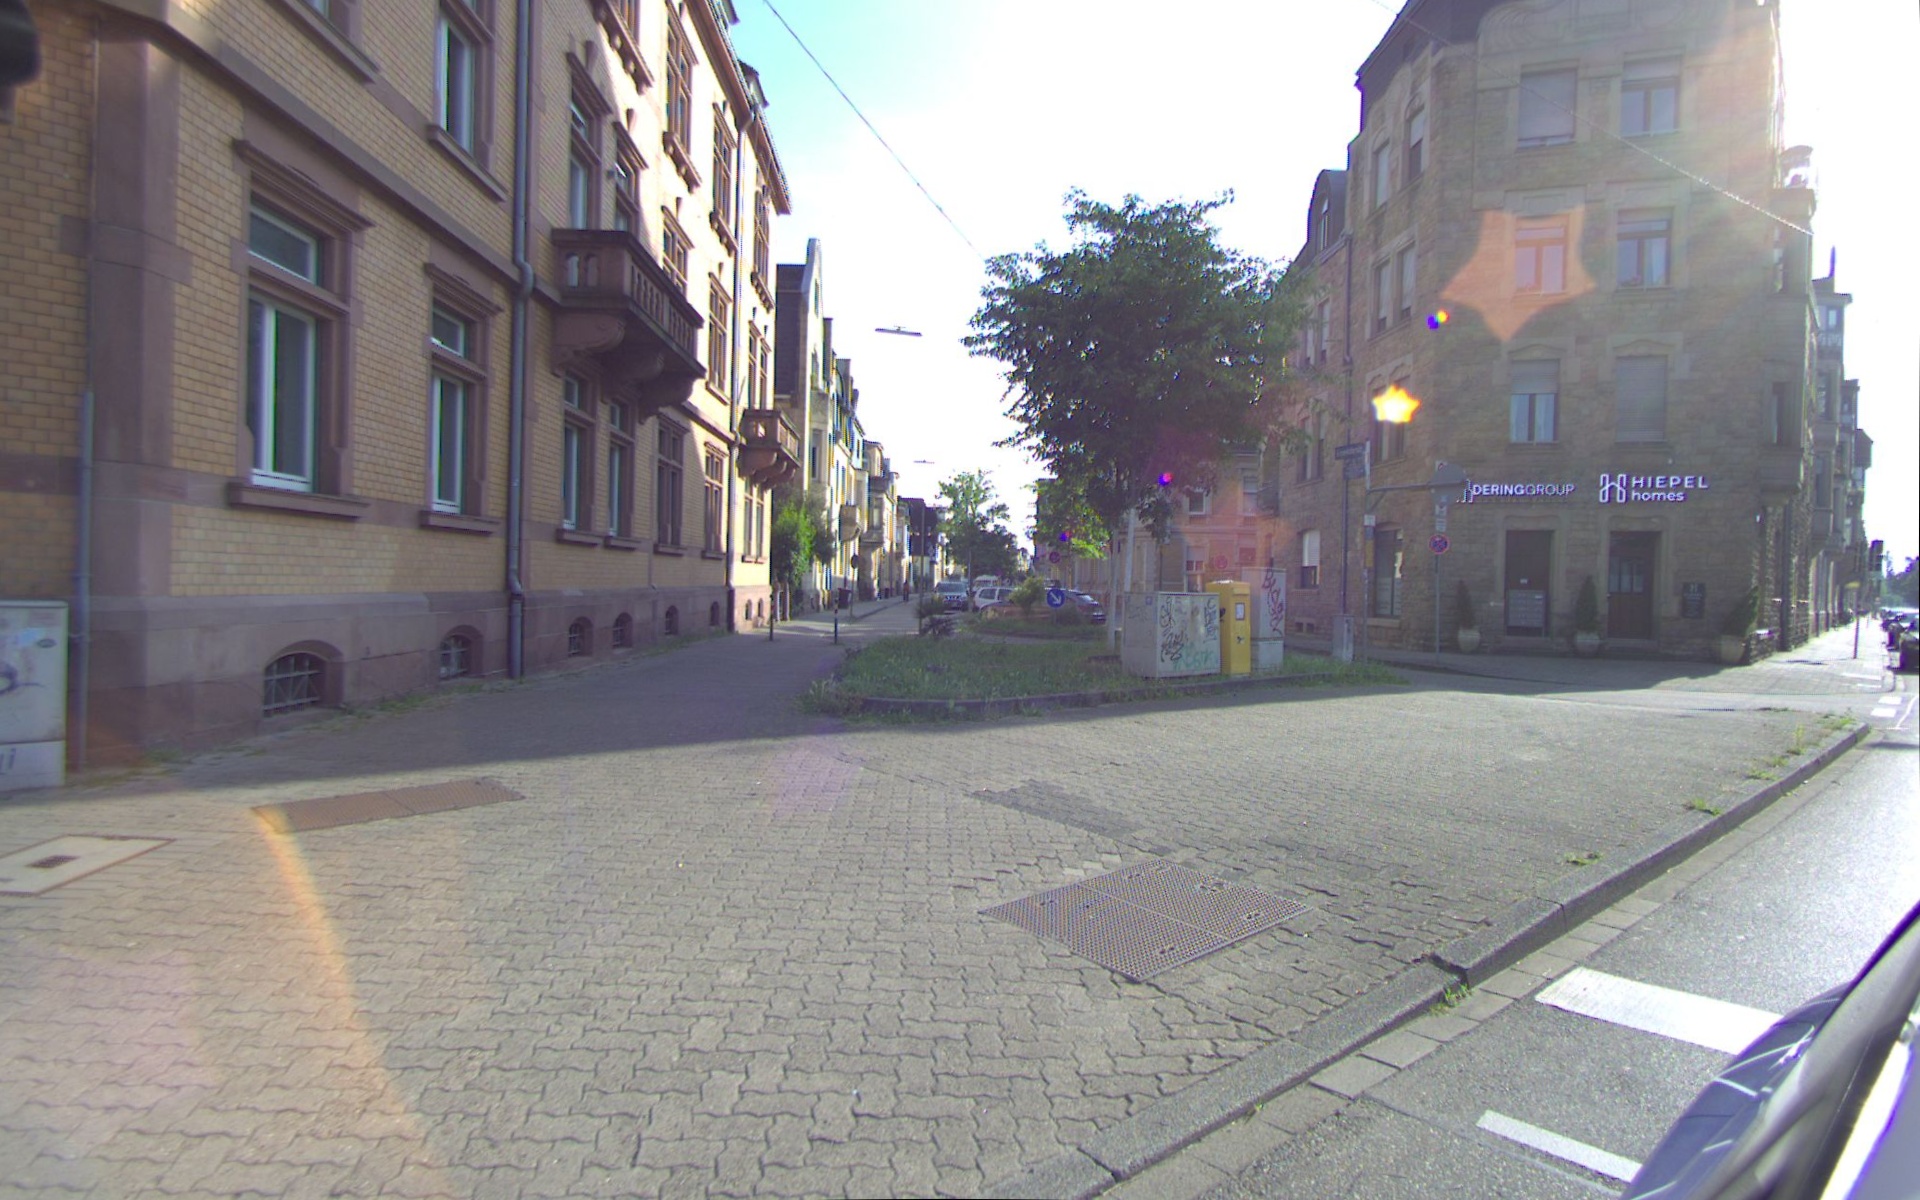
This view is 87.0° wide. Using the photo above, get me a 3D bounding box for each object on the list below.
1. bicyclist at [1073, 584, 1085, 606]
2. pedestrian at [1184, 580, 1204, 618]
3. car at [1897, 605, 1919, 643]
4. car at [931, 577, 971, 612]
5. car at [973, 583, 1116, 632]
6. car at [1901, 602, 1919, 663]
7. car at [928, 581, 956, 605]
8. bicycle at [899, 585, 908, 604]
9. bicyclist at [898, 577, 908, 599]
[{"bbox_3d":[8.023,-0.344,68.527,0.730,1.474,0.654,1,0,2],"label":"bicyclist"},{"bbox_3d":[10.477,-0.037,45.317,0.749,1.696,0.783,1,-1,2],"label":"pedestrian"},{"bbox_3d":[40.496,0.994,42.283,1.836,1.499,3.935,1,0,45],"label":"car"},{"bbox_3d":[-0.430,-0.288,51.722,1.962,1.672,3.999,1,0,1],"label":"car"},{"bbox_3d":[2.828,0.226,34.252,4.424,1.533,1.975,1,0,35],"label":"car"},{"bbox_3d":[25.811,0.839,26.337,1.834,1.522,4.201,1,0,42],"label":"car"},{"bbox_3d":[-1.298,-0.512,75.221,1.962,1.672,3.999,1,0,1],"label":"car"},{"bbox_3d":[-4.103,-0.408,73.245,0.561,1.273,1.570,1,1,0],"label":"bicycle"},{"bbox_3d":[-4.089,-0.871,73.162,0.642,1.560,0.897,1,1,0],"label":"bicyclist"}]
